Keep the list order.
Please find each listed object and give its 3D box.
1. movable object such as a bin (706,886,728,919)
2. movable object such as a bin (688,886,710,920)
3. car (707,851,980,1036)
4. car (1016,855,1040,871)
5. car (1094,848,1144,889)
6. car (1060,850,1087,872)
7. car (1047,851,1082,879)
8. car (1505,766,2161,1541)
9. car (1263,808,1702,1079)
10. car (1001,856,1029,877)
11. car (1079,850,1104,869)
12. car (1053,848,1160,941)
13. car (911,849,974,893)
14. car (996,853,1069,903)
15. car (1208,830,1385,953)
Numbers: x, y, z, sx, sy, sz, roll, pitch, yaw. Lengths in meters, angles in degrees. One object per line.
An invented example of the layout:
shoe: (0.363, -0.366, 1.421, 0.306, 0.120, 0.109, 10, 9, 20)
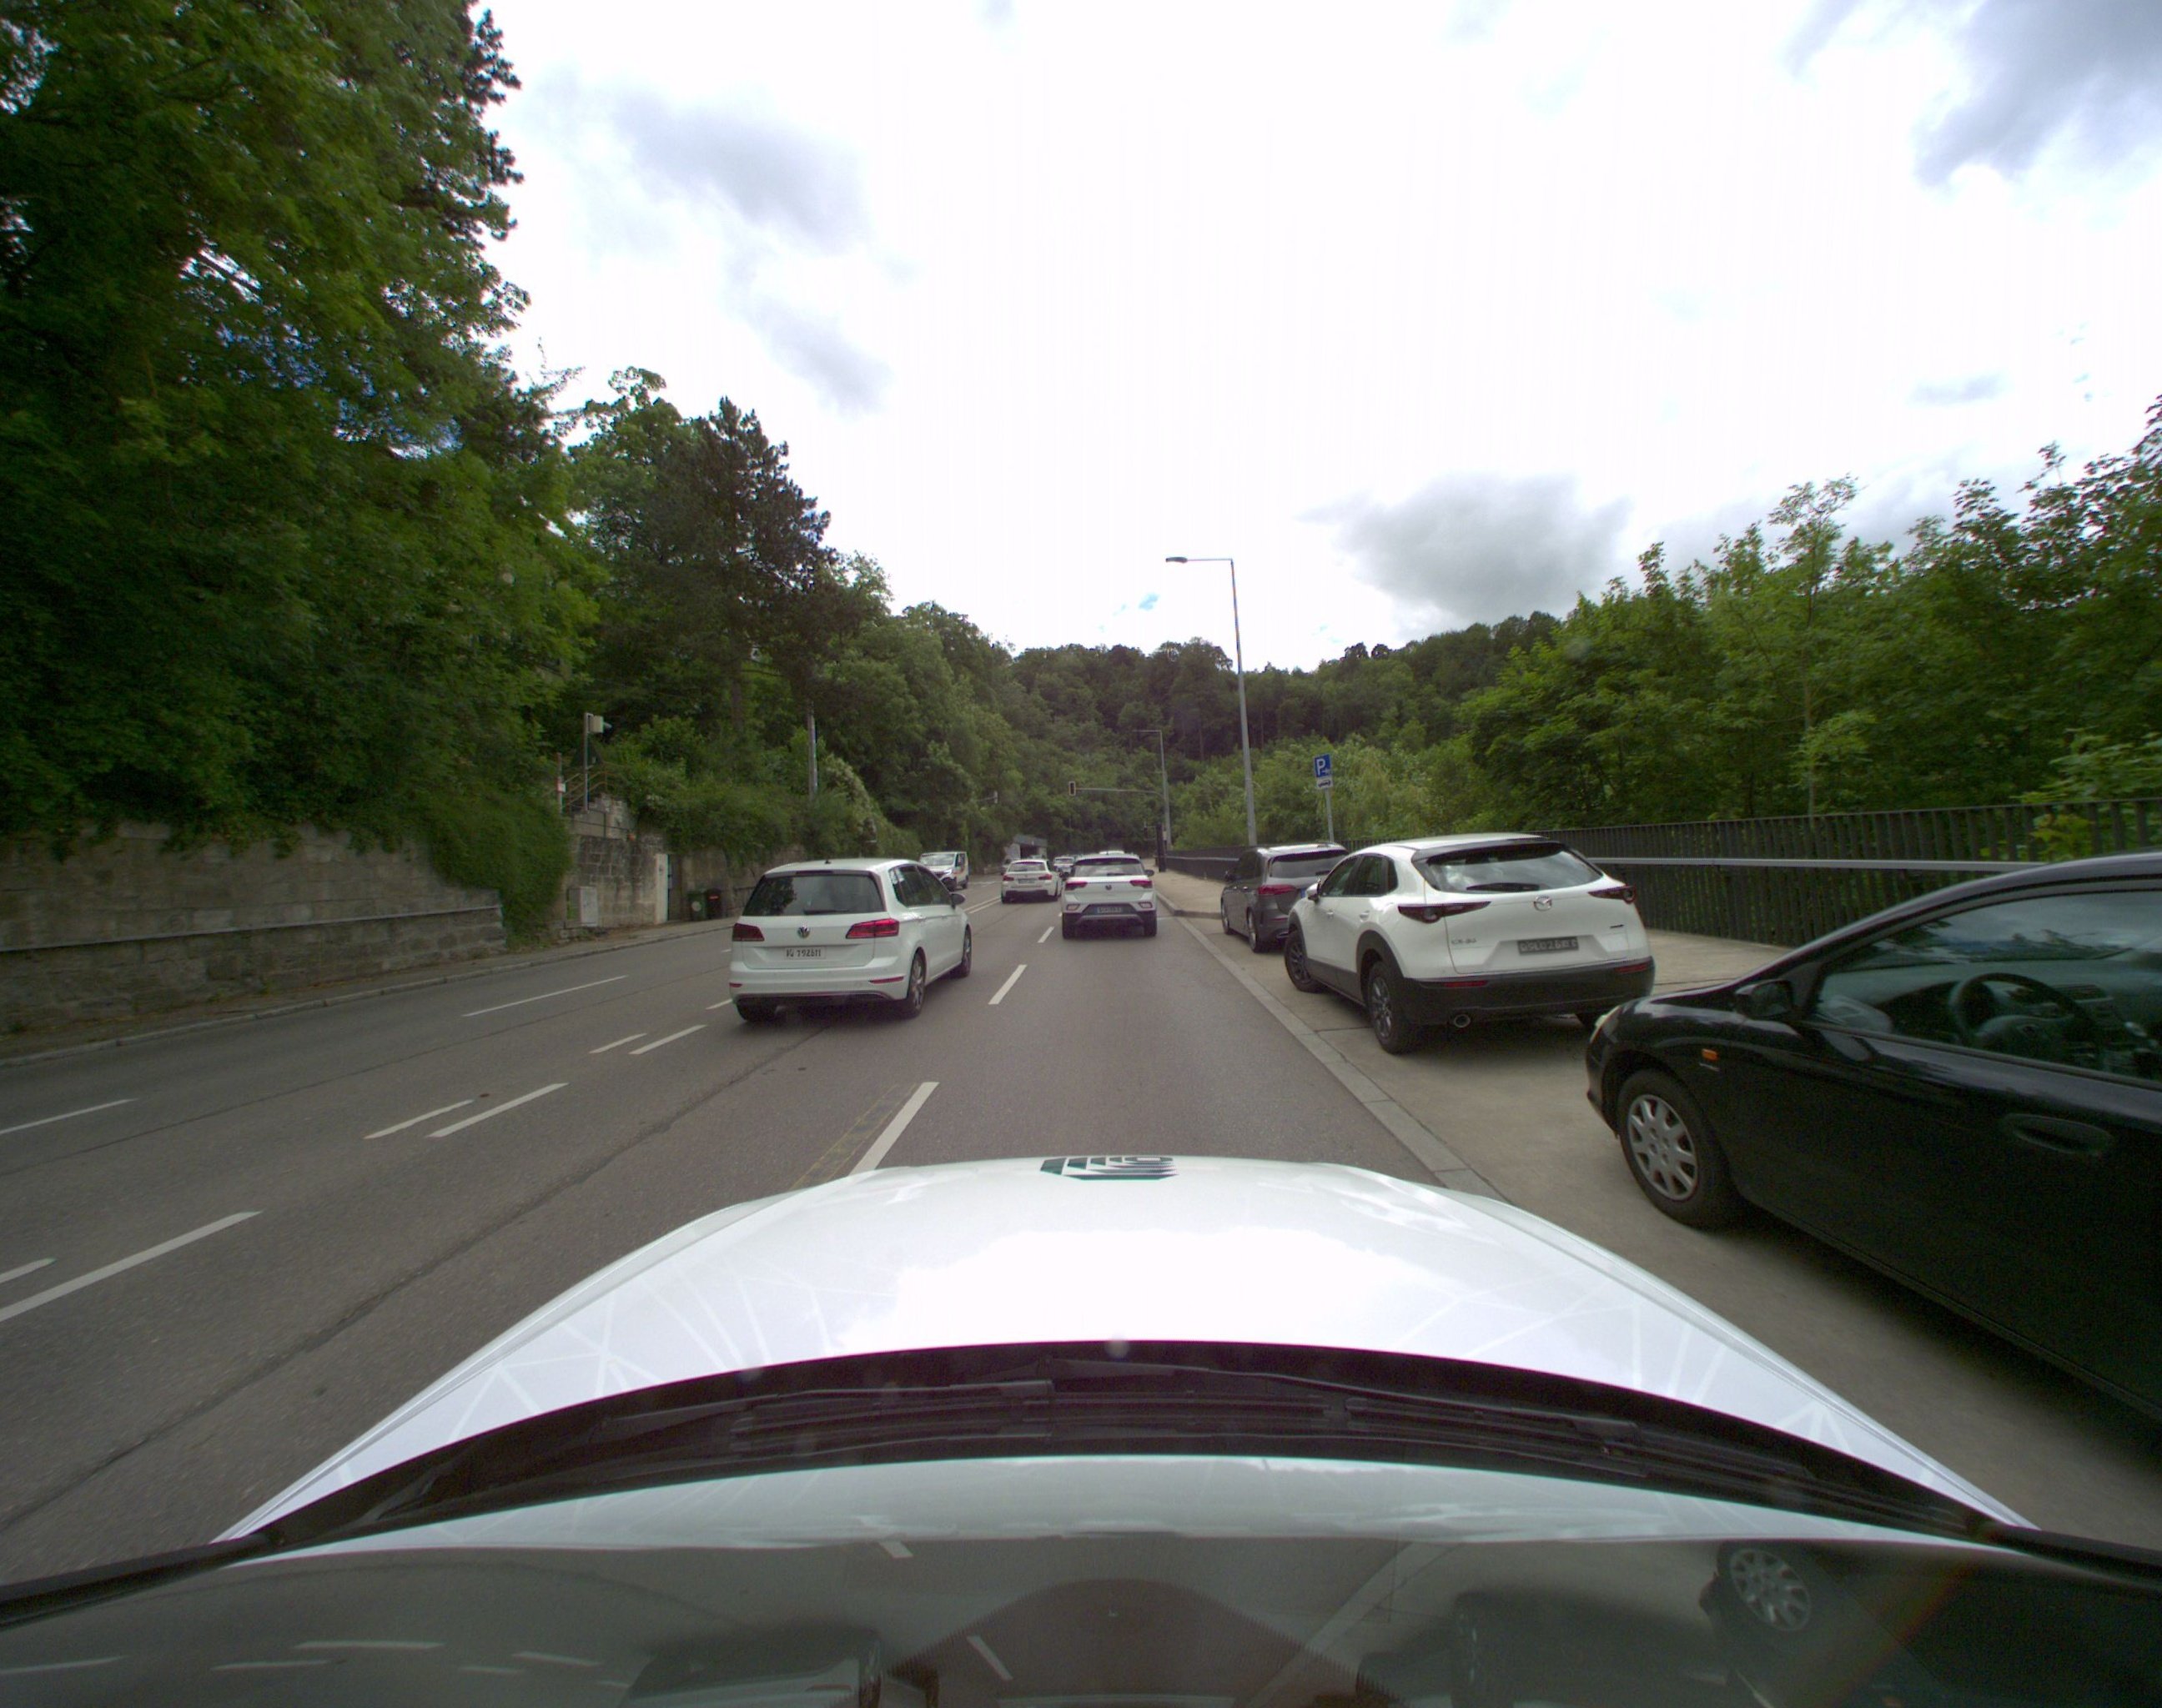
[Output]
movable object such as a bin: (-10.701, 1.429, 23.925, 0.478, 0.936, 0.365, -1, -1, -3)
movable object such as a bin: (-11.207, 1.427, 23.909, 0.476, 0.971, 0.367, -1, -1, -3)
car: (-2.350, 0.788, 9.277, 1.714, 1.554, 4.276, -2, 0, 1)
car: (-5.407, 0.925, 83.174, 1.934, 1.549, 4.251, -3, -1, 2)
car: (1.884, 0.684, 39.369, 1.982, 1.843, 4.160, -1, -1, 8)
car: (-0.619, 0.614, 69.705, 1.985, 1.741, 4.003, -2, 0, 2)
car: (-0.959, 0.650, 50.215, 1.855, 1.595, 4.003, -1, 0, 2)
car: (2.989, 0.556, 2.003, 1.653, 1.572, 4.257, -6, 0, 2)
car: (3.006, 0.574, 7.367, 1.720, 1.568, 4.626, -4, -1, 2)
car: (-5.453, 1.015, 67.668, 1.669, 1.442, 4.238, -1, 2, 3)
car: (1.094, 0.523, 83.668, 1.982, 1.864, 4.009, -2, 0, 8)
car: (0.513, 0.731, 16.382, 1.807, 1.539, 4.009, -3, 0, 1)
car: (-6.864, 0.798, 40.953, 1.914, 2.005, 5.359, -3, 0, 2)
car: (-1.600, 0.783, 28.579, 1.985, 1.557, 4.684, -2, 0, 3)
car: (3.319, 0.524, 13.480, 1.750, 1.544, 4.429, -6, 0, 2)
